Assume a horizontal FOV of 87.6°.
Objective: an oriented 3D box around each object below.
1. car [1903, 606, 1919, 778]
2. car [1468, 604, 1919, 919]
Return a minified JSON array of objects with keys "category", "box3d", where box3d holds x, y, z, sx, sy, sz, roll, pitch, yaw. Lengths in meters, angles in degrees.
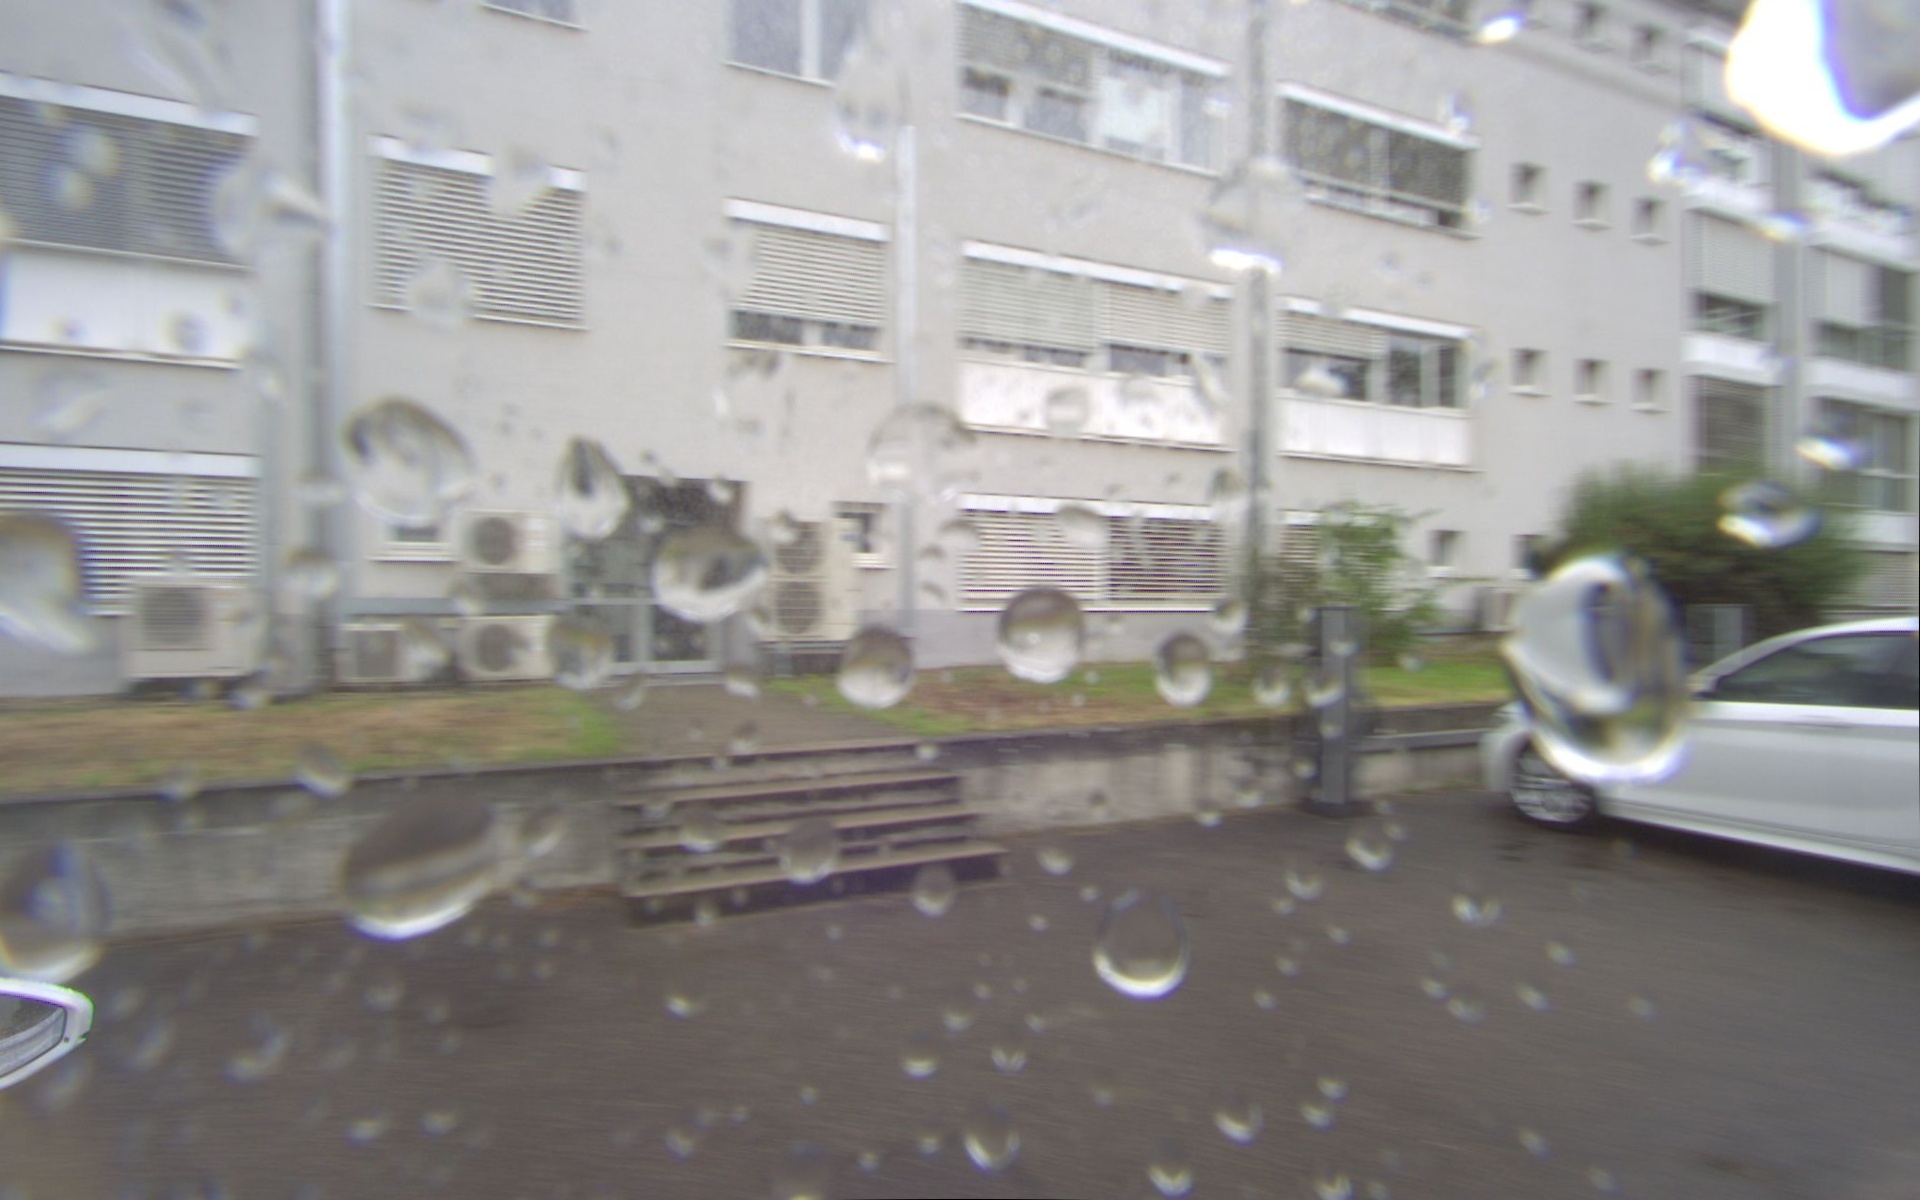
[{"category":"car","box3d":[10.053,0.781,7.310,1.967,1.509,4.209,1,-1,-22]},{"category":"car","box3d":[5.344,0.800,5.617,1.967,1.509,4.209,1,-1,-22]}]
